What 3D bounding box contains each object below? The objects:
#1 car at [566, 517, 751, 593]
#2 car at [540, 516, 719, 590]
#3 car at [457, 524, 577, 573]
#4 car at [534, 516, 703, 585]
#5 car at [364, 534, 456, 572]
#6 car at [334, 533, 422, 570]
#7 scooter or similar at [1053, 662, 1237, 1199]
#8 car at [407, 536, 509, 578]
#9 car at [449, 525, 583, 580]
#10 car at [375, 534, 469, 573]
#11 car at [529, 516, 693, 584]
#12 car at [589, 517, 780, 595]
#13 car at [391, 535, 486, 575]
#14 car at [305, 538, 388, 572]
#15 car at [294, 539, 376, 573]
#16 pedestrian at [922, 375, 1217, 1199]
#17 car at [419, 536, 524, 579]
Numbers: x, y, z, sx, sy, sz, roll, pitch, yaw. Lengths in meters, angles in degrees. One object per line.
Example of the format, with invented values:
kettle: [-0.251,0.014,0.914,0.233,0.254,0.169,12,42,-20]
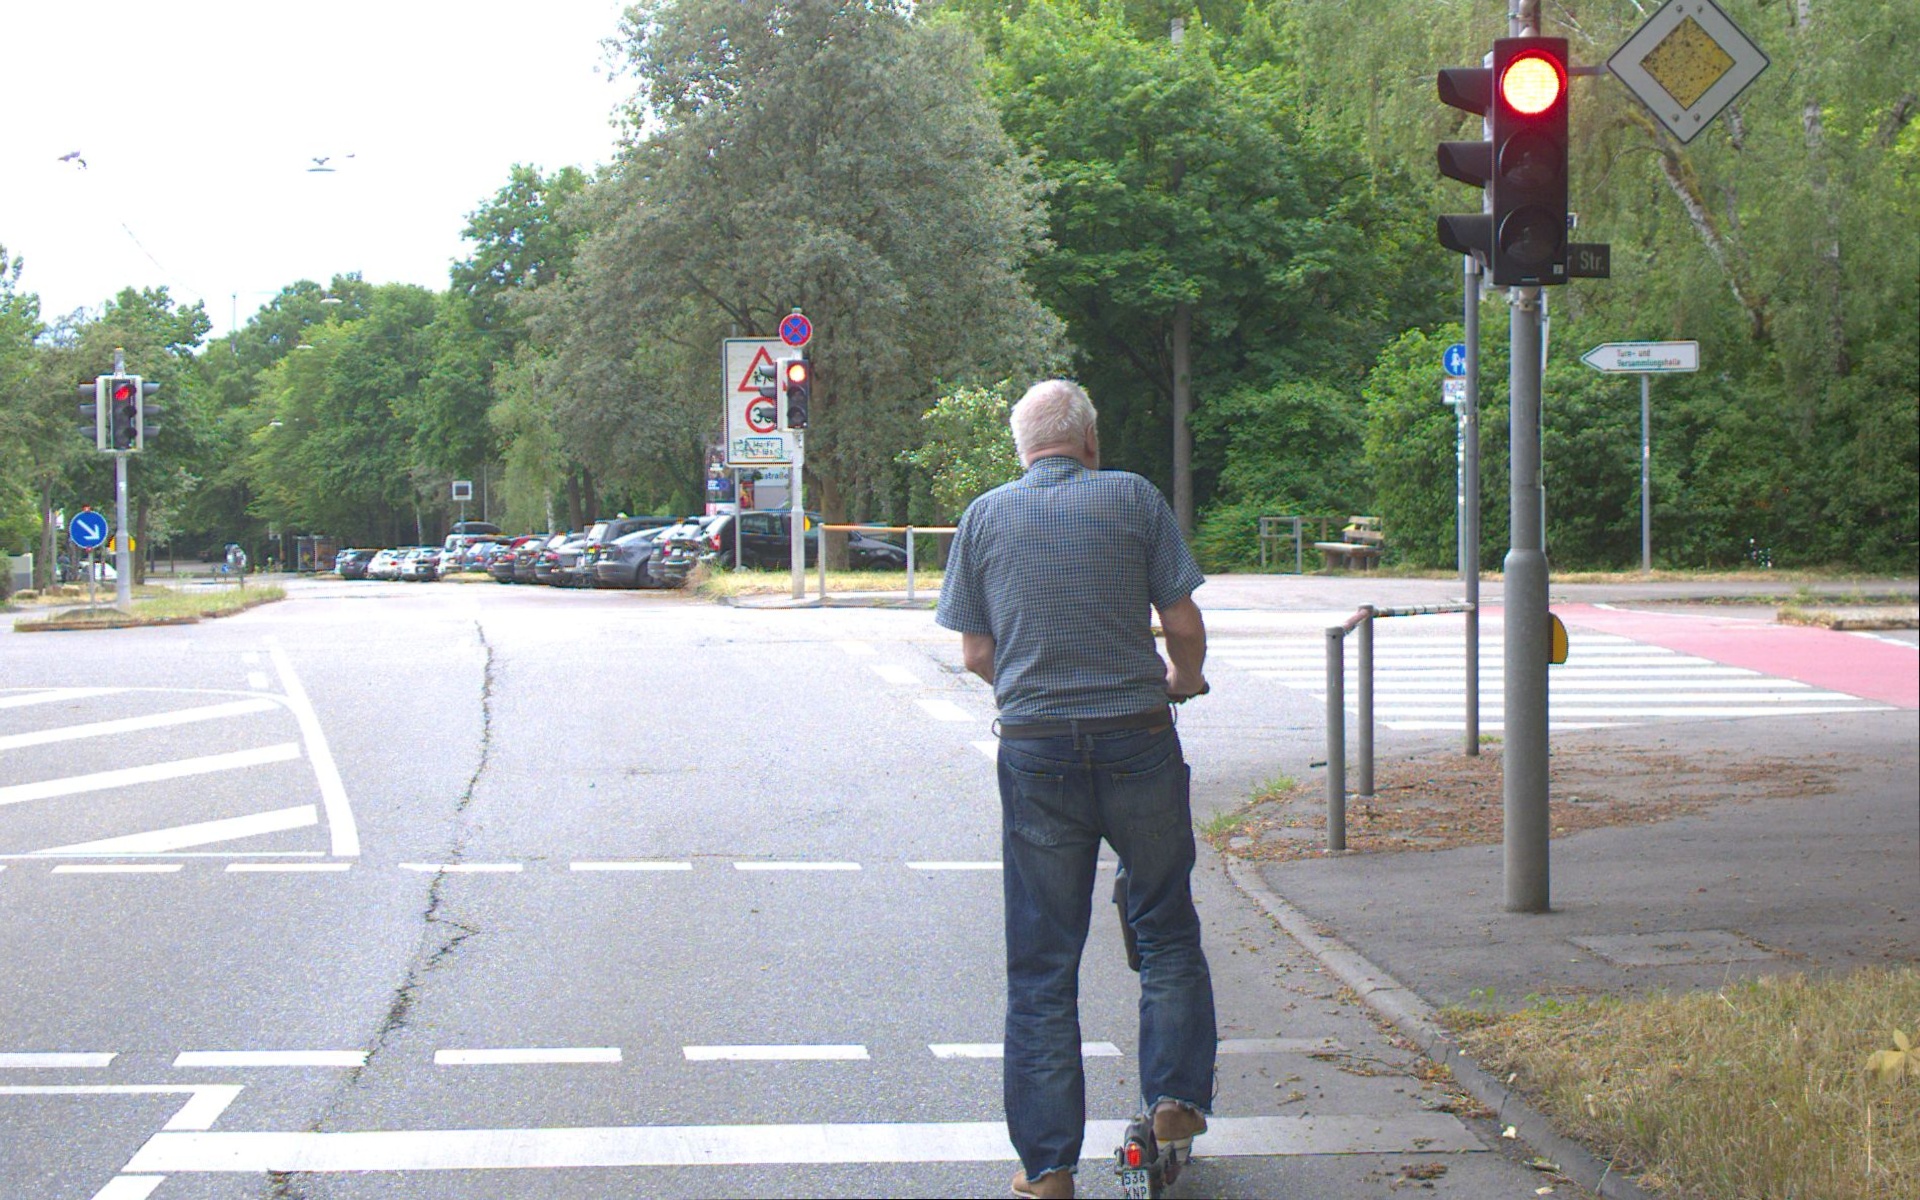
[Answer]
car: [-6.954,-1.046,79.296,3.840,1.605,1.729,-3,2,-23]
car: [-7.816,-1.125,81.330,3.840,1.605,1.729,-3,2,-23]
car: [-15.704,-1.825,121.886,3.840,1.605,1.729,-3,2,-23]
car: [-8.603,-1.258,86.643,3.840,1.605,1.729,-3,2,-23]
car: [-25.393,-2.179,158.768,3.840,1.605,1.729,-3,2,-23]
car: [-28.063,-2.347,165.833,3.840,1.605,1.729,-3,2,-23]
scooter or similar: [0.414,0.750,7.392,0.282,1.174,1.177,-1,1,8]
car: [-20.854,-1.796,142.762,3.840,1.605,1.729,-3,2,-23]
car: [-14.057,-1.513,108.919,3.840,1.605,1.729,-3,2,-23]
car: [-24.451,-2.119,156.198,3.840,1.605,1.729,-3,2,-23]
car: [-9.043,-1.304,89.055,3.840,1.605,1.729,-3,2,-23]
car: [-6.152,-0.994,76.755,3.841,1.605,1.728,-3,2,-24]
car: [-23.376,-2.021,154.066,3.840,1.605,1.729,-3,2,-23]
car: [-31.330,-2.298,175.629,3.840,1.605,1.729,-3,2,-23]
car: [-32.352,-2.270,177.968,3.840,1.605,1.729,-3,2,-23]
pedestrian: [0.249,0.424,7.562,0.573,1.807,0.420,-1,1,8]
car: [-19.749,-1.716,139.087,3.840,1.605,1.729,-3,2,-23]
